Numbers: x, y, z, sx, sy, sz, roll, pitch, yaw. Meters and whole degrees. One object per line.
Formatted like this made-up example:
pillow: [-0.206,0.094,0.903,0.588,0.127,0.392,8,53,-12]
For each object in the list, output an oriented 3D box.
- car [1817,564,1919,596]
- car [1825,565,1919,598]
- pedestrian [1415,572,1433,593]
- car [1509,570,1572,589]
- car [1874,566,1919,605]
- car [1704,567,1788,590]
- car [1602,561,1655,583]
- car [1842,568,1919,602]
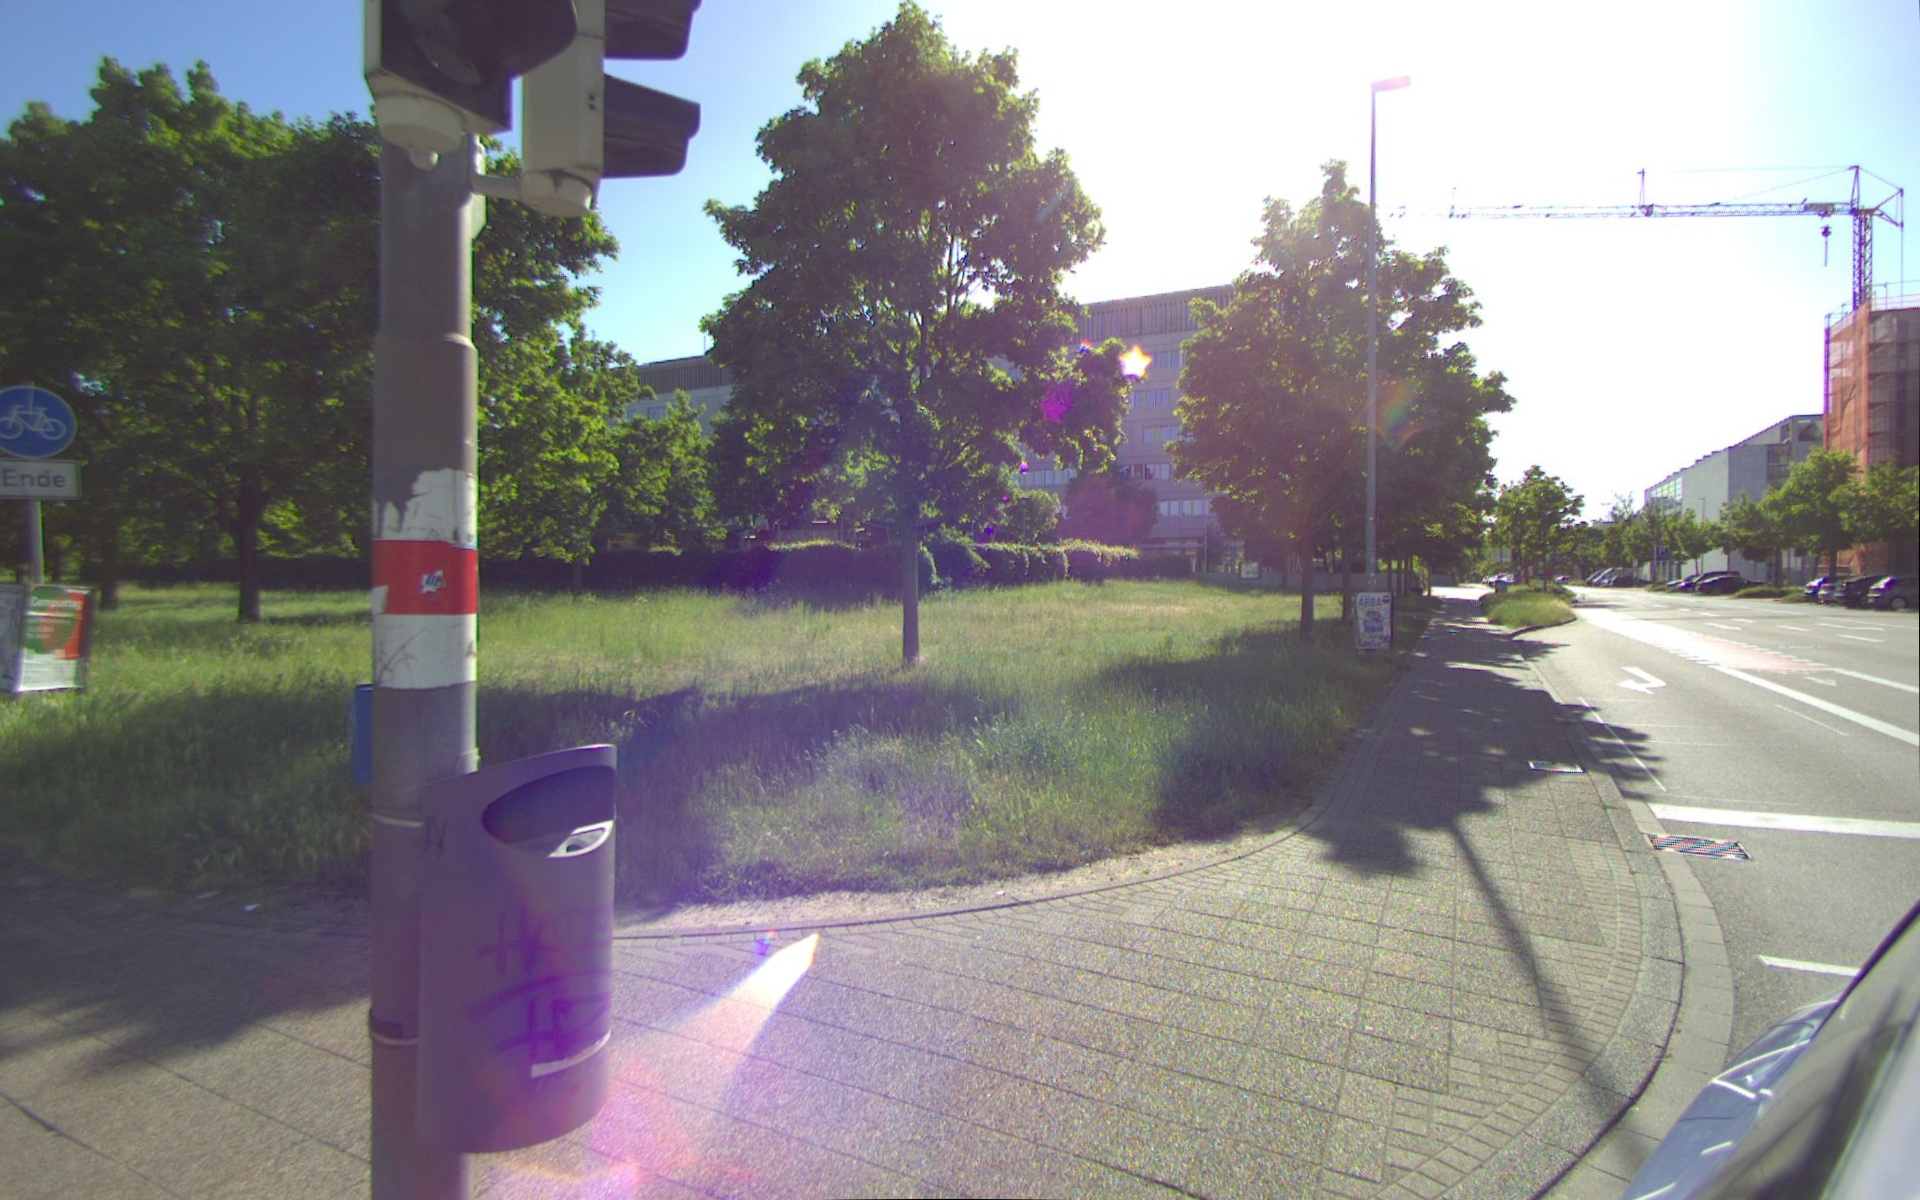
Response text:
car: [46.207,-1.009,50.951,4.360,1.450,1.676,-2,0,30]
car: [45.096,-0.916,49.152,4.358,1.450,1.677,-2,0,28]
pedestrian: [27.606,-1.060,60.172,0.835,1.232,0.725,1,2,16]
car: [47.522,-1.737,82.934,4.376,1.481,1.877,2,2,28]
car: [41.849,-0.684,42.779,4.350,1.557,1.680,-2,0,24]
car: [56.389,-1.527,72.693,4.352,1.450,1.961,-2,0,25]
car: [85.900,-3.620,130.142,5.540,2.514,1.989,-2,0,31]
car: [42.916,-0.712,45.638,4.353,1.450,1.679,-2,0,26]
